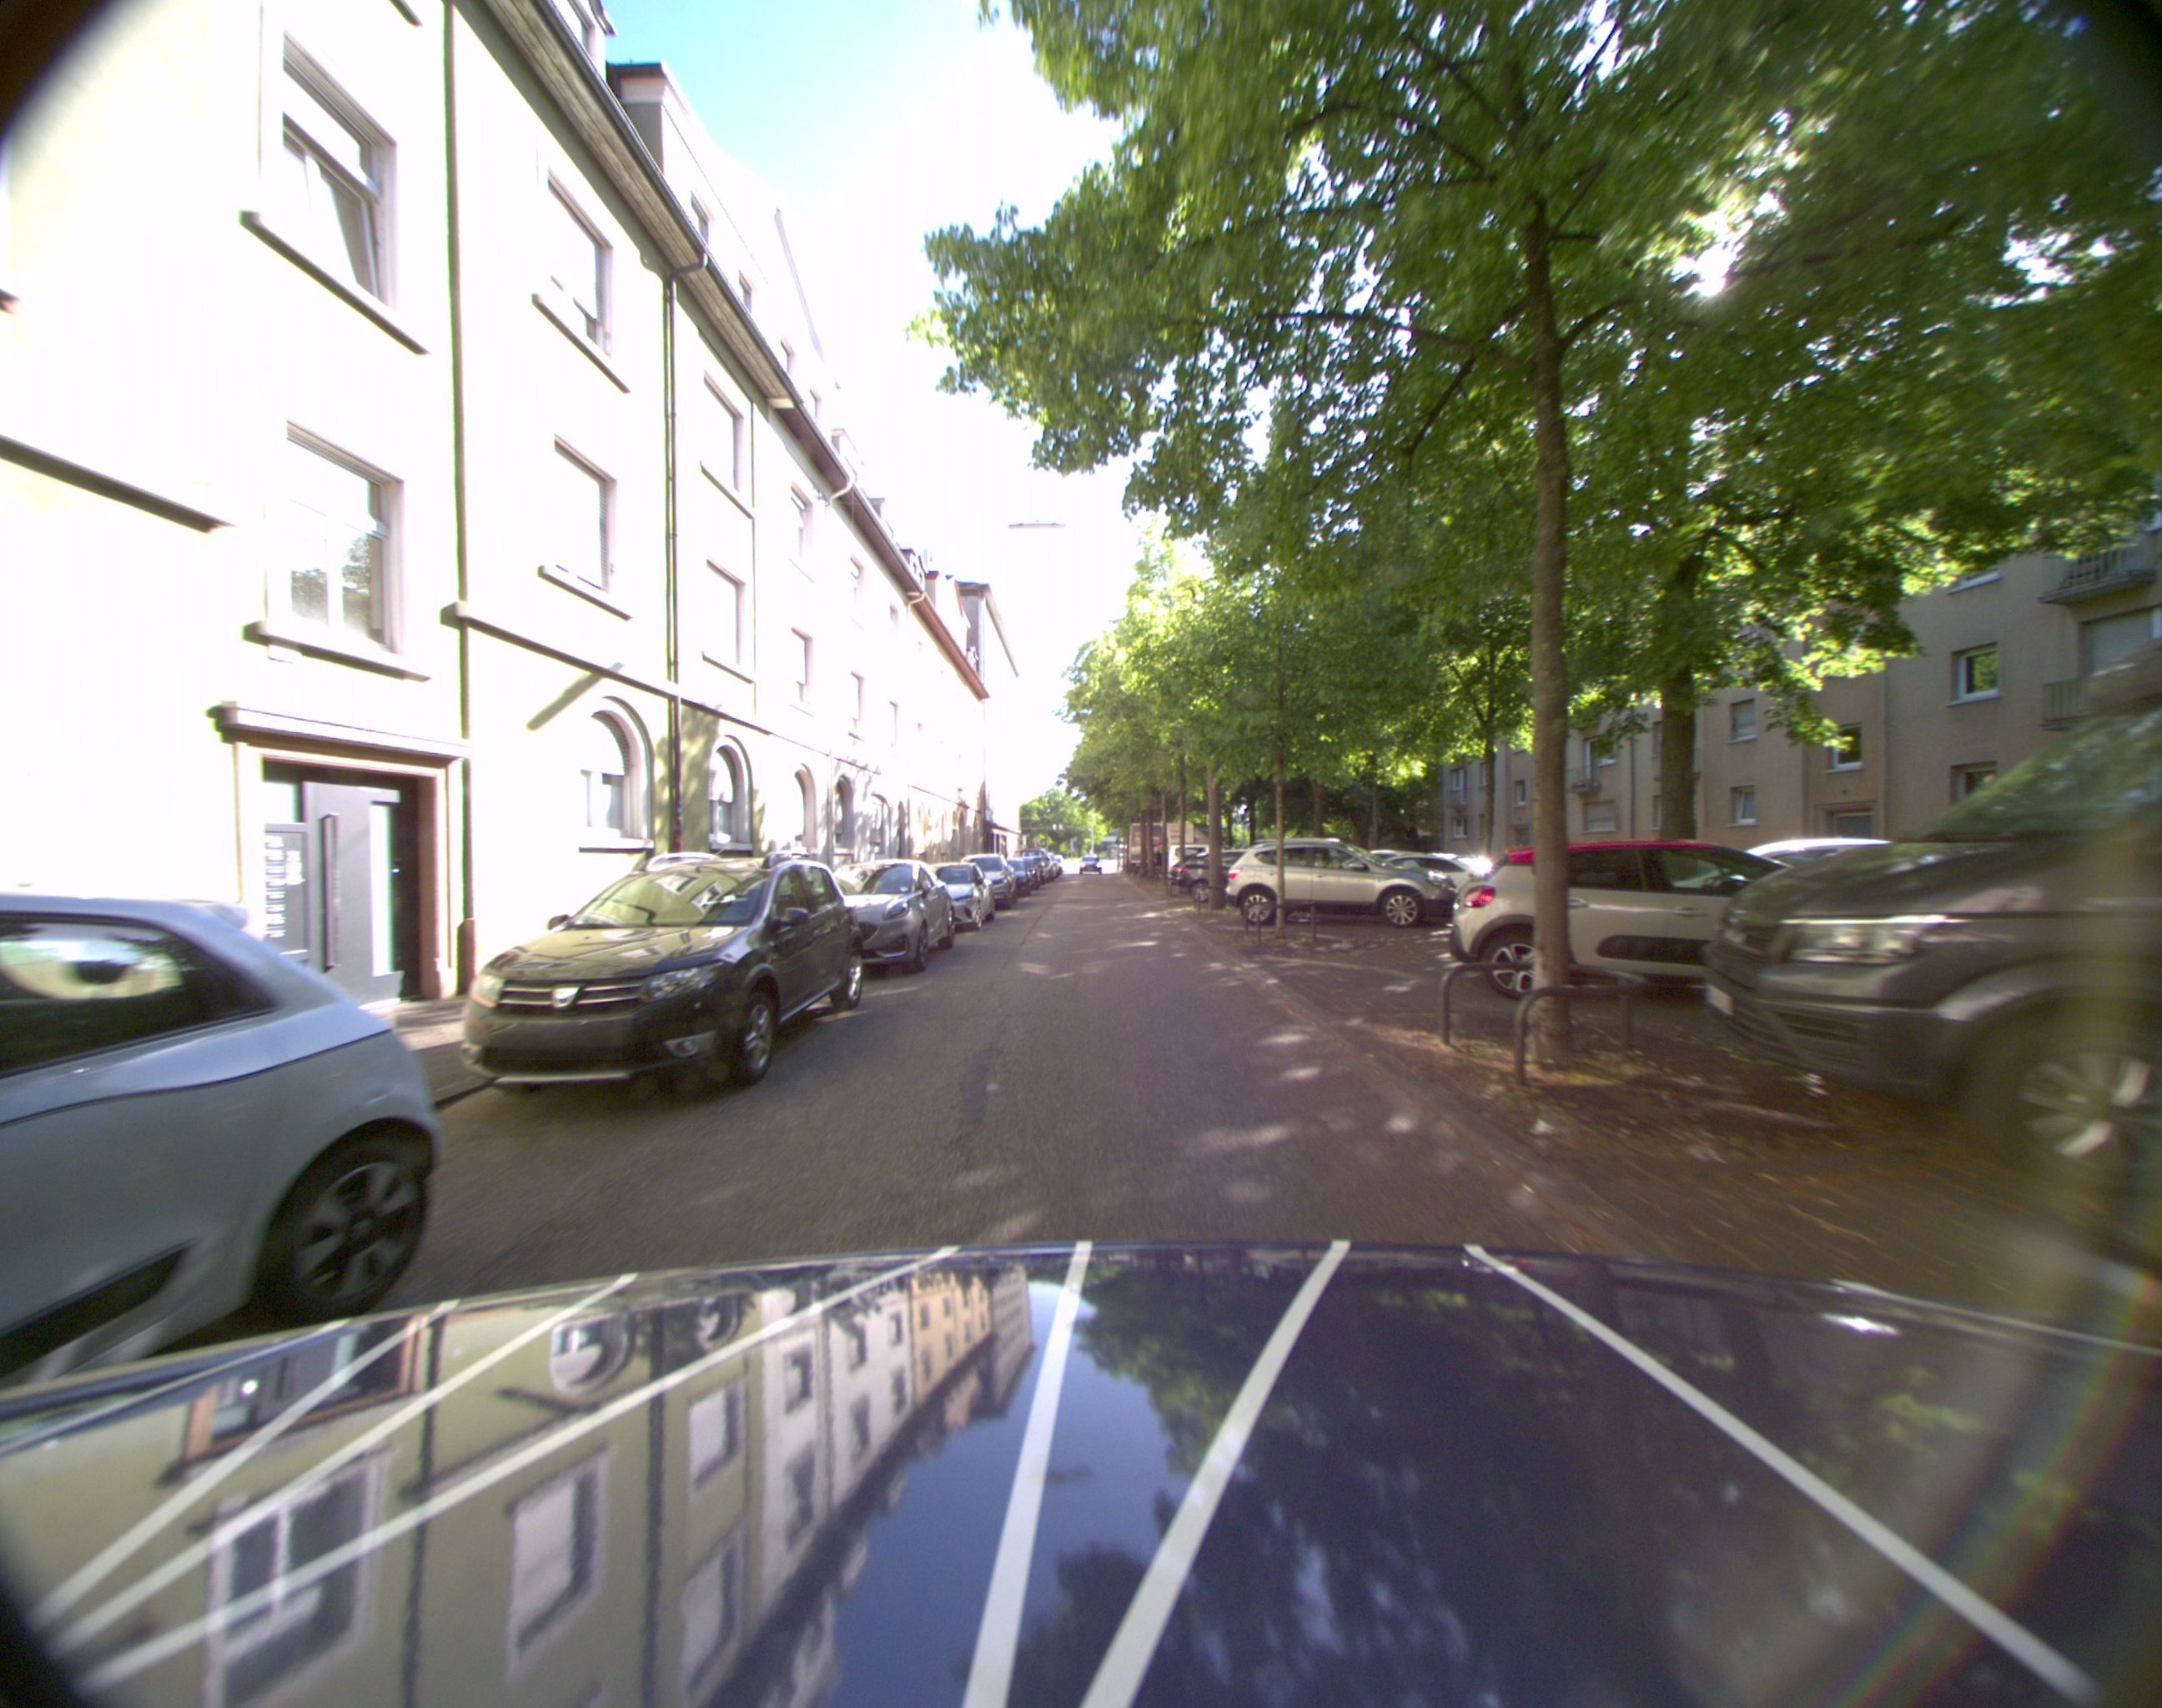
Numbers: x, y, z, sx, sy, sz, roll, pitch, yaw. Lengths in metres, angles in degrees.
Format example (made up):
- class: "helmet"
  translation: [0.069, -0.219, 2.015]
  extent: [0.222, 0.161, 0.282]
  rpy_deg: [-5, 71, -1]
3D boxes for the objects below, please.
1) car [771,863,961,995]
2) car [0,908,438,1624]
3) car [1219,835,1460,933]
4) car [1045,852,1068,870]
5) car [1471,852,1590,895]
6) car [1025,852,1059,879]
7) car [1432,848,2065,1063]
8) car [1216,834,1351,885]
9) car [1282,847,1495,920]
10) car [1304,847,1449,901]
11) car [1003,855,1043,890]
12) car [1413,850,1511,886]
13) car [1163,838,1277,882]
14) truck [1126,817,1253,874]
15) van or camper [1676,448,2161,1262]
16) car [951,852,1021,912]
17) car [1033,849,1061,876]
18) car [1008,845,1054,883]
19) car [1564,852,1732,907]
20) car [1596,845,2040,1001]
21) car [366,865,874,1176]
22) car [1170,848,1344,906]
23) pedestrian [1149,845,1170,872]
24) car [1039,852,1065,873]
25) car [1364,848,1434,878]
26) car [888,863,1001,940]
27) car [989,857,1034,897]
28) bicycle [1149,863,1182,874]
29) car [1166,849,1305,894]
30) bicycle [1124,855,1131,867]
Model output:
- class: "car"
  translation: [-2.957, 0.942, 11.389]
  extent: [1.727, 1.519, 4.157]
  rpy_deg: [-1, 0, -1]
- class: "car"
  translation: [-3.261, 0.990, 1.079]
  extent: [1.635, 1.525, 3.592]
  rpy_deg: [-1, 0, -1]
- class: "car"
  translation: [4.970, 0.514, 14.724]
  extent: [4.136, 1.669, 1.762]
  rpy_deg: [-1, 1, 30]
- class: "car"
  translation: [-2.138, 0.585, 67.229]
  extent: [1.723, 1.489, 4.023]
  rpy_deg: [-1, 0, 2]
- class: "car"
  translation: [15.744, 0.649, 26.884]
  extent: [1.896, 1.379, 4.000]
  rpy_deg: [0, 1, 1]
- class: "car"
  translation: [-2.289, 0.648, 45.764]
  extent: [1.766, 1.491, 4.238]
  rpy_deg: [-1, 0, 0]
- class: "car"
  translation: [5.519, 0.706, 7.021]
  extent: [3.989, 1.498, 1.761]
  rpy_deg: [0, 1, 29]
- class: "car"
  translation: [7.678, 0.178, 28.935]
  extent: [4.593, 1.822, 2.022]
  rpy_deg: [0, 1, 30]
- class: "car"
  translation: [6.738, 0.644, 16.781]
  extent: [4.032, 1.395, 1.827]
  rpy_deg: [-2, 1, 33]
- class: "car"
  translation: [8.696, 0.542, 22.454]
  extent: [3.623, 1.447, 1.822]
  rpy_deg: [0, 1, 38]
- class: "car"
  translation: [-2.592, 0.809, 34.756]
  extent: [1.626, 1.489, 3.594]
  rpy_deg: [-1, 0, -1]
- class: "car"
  translation: [15.995, 0.539, 32.184]
  extent: [1.732, 1.385, 4.616]
  rpy_deg: [0, 0, -1]
- class: "car"
  translation: [6.123, 0.269, 33.502]
  extent: [4.512, 1.854, 2.084]
  rpy_deg: [-1, 1, 26]
- class: "truck"
  translation: [6.591, -0.495, 46.677]
  extent: [7.305, 3.274, 2.552]
  rpy_deg: [0, 1, 32]
- class: "van or camper"
  translation: [6.753, -0.004, 2.510]
  extent: [7.230, 2.913, 2.318]
  rpy_deg: [0, 1, 28]
- class: "car"
  translation: [-2.854, 0.785, 23.571]
  extent: [1.727, 1.676, 4.157]
  rpy_deg: [-1, 0, -2]
- class: "car"
  translation: [-2.256, 0.552, 51.161]
  extent: [1.766, 1.743, 4.509]
  rpy_deg: [-1, 0, -1]
- class: "car"
  translation: [-2.575, 0.498, 40.285]
  extent: [1.953, 1.889, 4.845]
  rpy_deg: [-1, 0, 1]
- class: "car"
  translation: [16.058, 0.658, 21.811]
  extent: [1.896, 1.379, 4.000]
  rpy_deg: [-1, 0, 1]
- class: "car"
  translation: [8.272, 0.663, 9.043]
  extent: [3.534, 1.498, 1.761]
  rpy_deg: [0, 1, 35]
- class: "car"
  translation: [-3.066, 0.933, 6.228]
  extent: [1.727, 1.587, 4.157]
  rpy_deg: [-1, 0, -2]
- class: "car"
  translation: [4.878, 0.598, 21.307]
  extent: [4.411, 1.453, 1.719]
  rpy_deg: [-1, 1, 33]
- class: "pedestrian"
  translation: [4.066, 0.228, 39.375]
  extent: [0.751, 1.389, 0.930]
  rpy_deg: [0, 1, 32]
- class: "car"
  translation: [-2.228, 0.609, 56.498]
  extent: [1.807, 1.455, 4.438]
  rpy_deg: [-1, 0, -4]
- class: "car"
  translation: [15.844, 0.401, 38.088]
  extent: [1.622, 1.398, 4.534]
  rpy_deg: [-1, 1, 0]
- class: "car"
  translation: [-2.921, 0.964, 17.094]
  extent: [1.727, 1.424, 4.158]
  rpy_deg: [-1, 0, 1]
- class: "car"
  translation: [-2.633, 0.859, 29.561]
  extent: [1.553, 1.386, 3.860]
  rpy_deg: [-1, 0, -3]
- class: "bicycle"
  translation: [4.297, 0.728, 38.683]
  extent: [1.610, 0.555, 0.410]
  rpy_deg: [0, 1, 32]
- class: "car"
  translation: [5.448, 0.591, 26.992]
  extent: [4.477, 1.447, 1.791]
  rpy_deg: [-1, 1, 33]
- class: "bicycle"
  translation: [4.288, 0.677, 70.127]
  extent: [0.354, 1.066, 1.591]
  rpy_deg: [-1, 1, -10]
